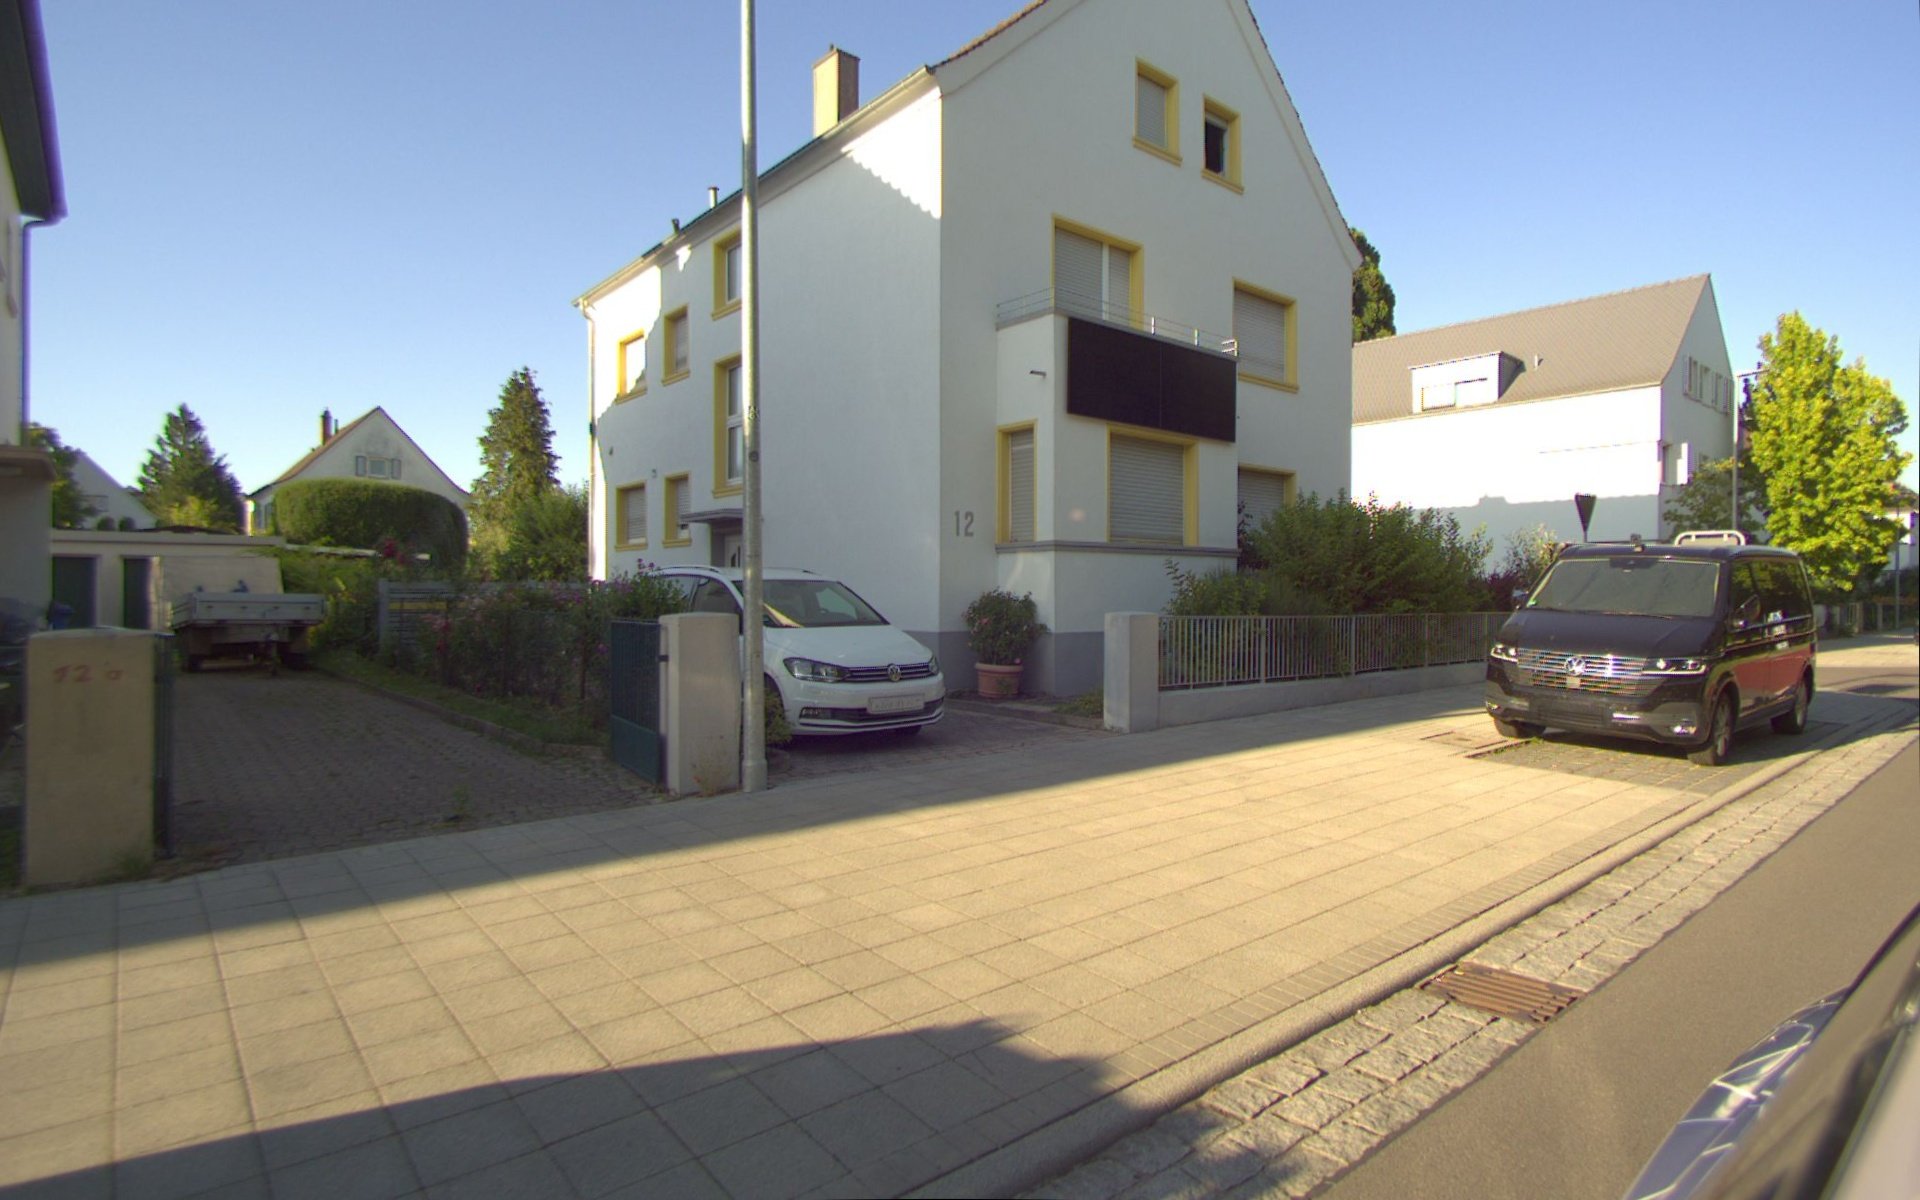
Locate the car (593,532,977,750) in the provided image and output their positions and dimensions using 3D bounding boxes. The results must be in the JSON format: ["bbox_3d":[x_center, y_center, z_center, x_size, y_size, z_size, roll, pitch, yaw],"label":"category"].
[{"bbox_3d":[-1.952,0.350,10.270,1.822,1.748,4.220,-1,-1,-43],"label":"car"}]

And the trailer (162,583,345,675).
[{"bbox_3d":[-11.417,0.414,16.244,1.965,1.279,4.068,0,-1,-42],"label":"trailer"}]

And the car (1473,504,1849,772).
[{"bbox_3d":[7.329,0.262,10.385,4.728,2.158,1.910,0,2,-40],"label":"car"}]

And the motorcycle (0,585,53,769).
[{"bbox_3d":[-7.427,0.528,7.842,0.588,1.263,2.072,-1,2,-42],"label":"motorcycle"}]

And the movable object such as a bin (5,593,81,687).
[{"bbox_3d":[-11.739,0.493,12.977,0.683,1.152,0.888,-1,-1,-41],"label":"movable object such as a bin"}]

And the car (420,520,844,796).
[{"bbox_3d":[-2.974,0.319,8.587,1.822,1.747,4.221,-1,1,-43],"label":"car"}]

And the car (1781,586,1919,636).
[{"bbox_3d":[35.069,0.457,39.904,3.983,1.869,1.786,-2,-3,45],"label":"car"}]
